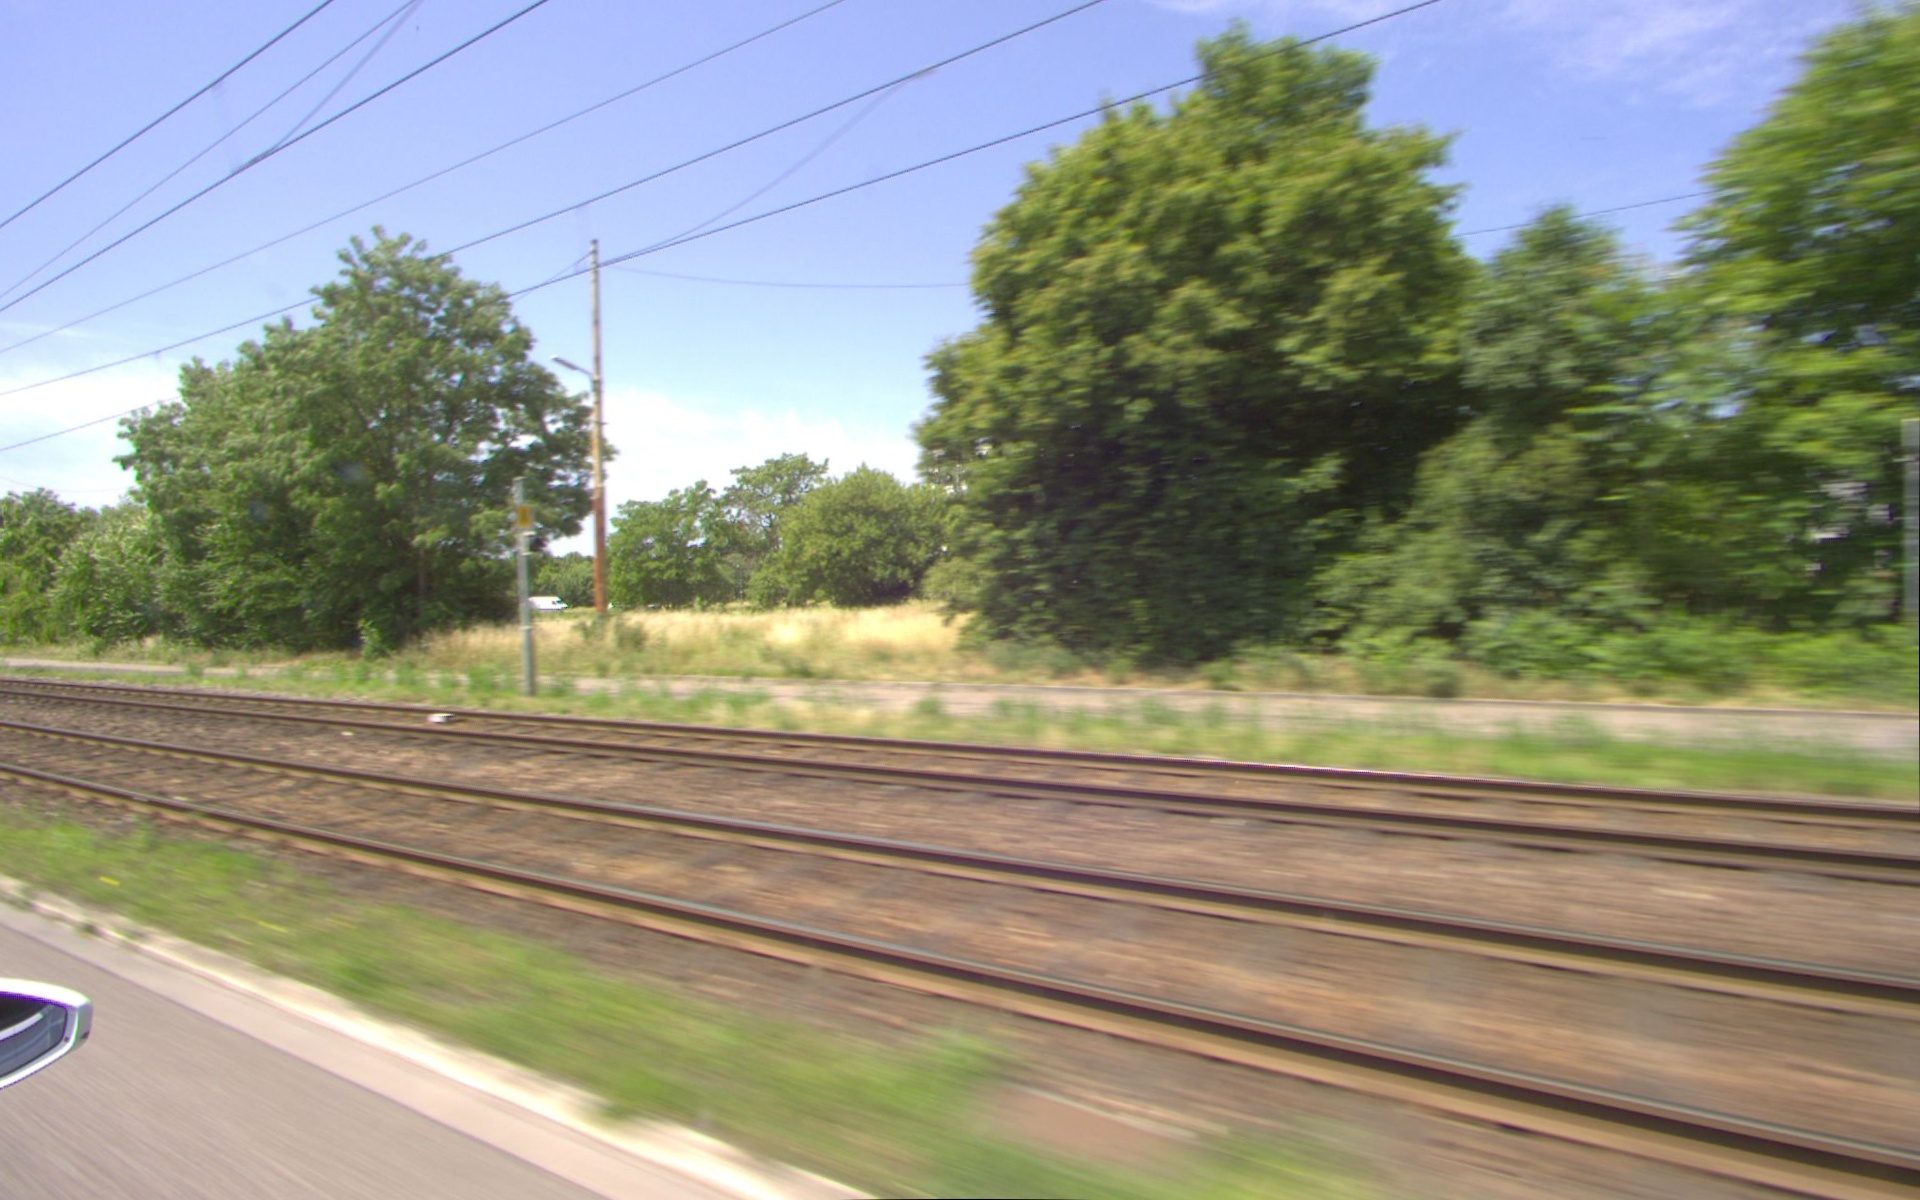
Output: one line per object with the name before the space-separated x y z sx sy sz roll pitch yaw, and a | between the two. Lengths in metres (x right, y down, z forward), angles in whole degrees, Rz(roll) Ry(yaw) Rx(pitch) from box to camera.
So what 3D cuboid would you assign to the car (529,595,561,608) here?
car | -69.515 0.272 167.829 4.654 2.039 2.065 -1 -2 13
